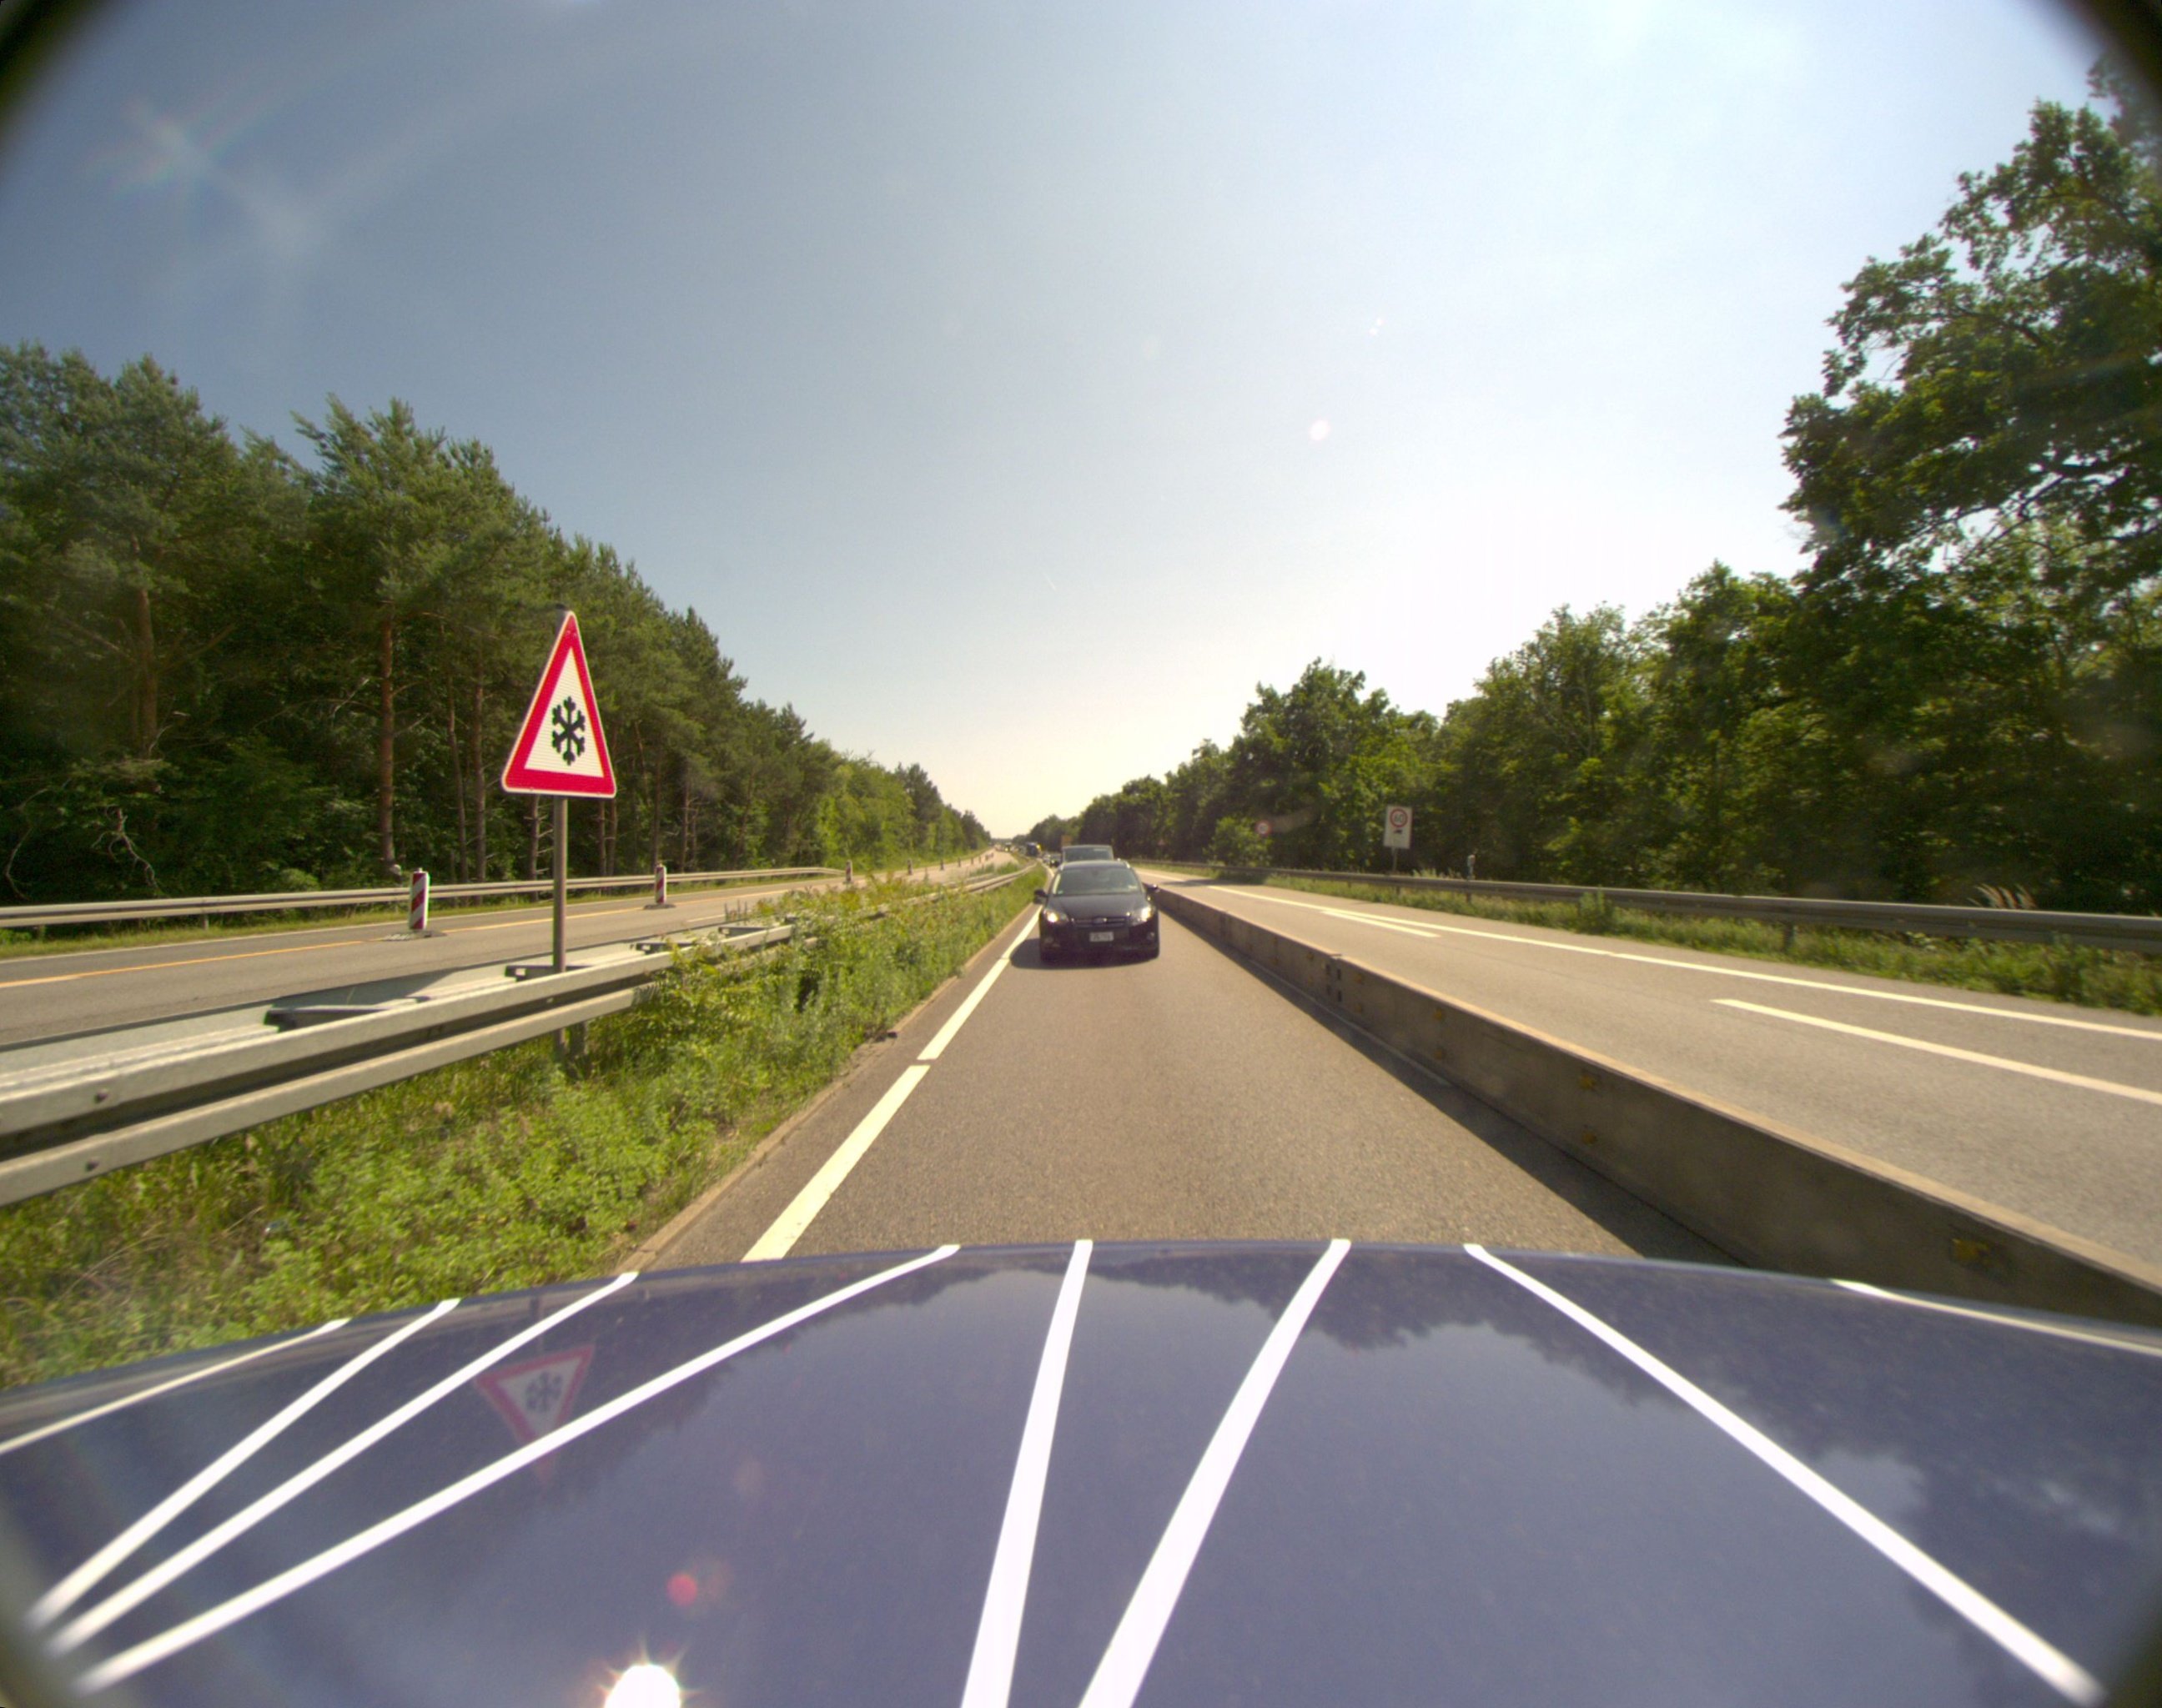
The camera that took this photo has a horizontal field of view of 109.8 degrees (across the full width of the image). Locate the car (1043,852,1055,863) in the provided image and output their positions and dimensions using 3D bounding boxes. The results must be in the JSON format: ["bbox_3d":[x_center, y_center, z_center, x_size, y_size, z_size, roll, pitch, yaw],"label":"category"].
[{"bbox_3d":[-4.752,0.511,113.887,1.527,1.647,3.980,-1,0,0],"label":"car"}]

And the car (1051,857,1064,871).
[{"bbox_3d":[-2.866,1.186,93.225,1.527,1.647,3.980,-1,0,0],"label":"car"}]

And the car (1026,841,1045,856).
[{"bbox_3d":[-5.488,-0.634,92.109,1.998,1.773,4.000,-1,0,0],"label":"car"}]

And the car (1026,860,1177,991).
[{"bbox_3d":[0.257,0.921,12.086,1.847,1.537,4.935,-2,0,0],"label":"car"}]

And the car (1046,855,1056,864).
[{"bbox_3d":[-5.226,0.939,131.670,1.527,1.647,3.754,0,0,0],"label":"car"}]

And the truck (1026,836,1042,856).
[{"bbox_3d":[-12.837,-1.991,205.257,3.831,5.266,11.240,-1,0,-6],"label":"truck"}]

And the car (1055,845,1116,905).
[{"bbox_3d":[0.108,0.659,27.659,1.960,1.901,4.934,-2,1,-1],"label":"car"}]
